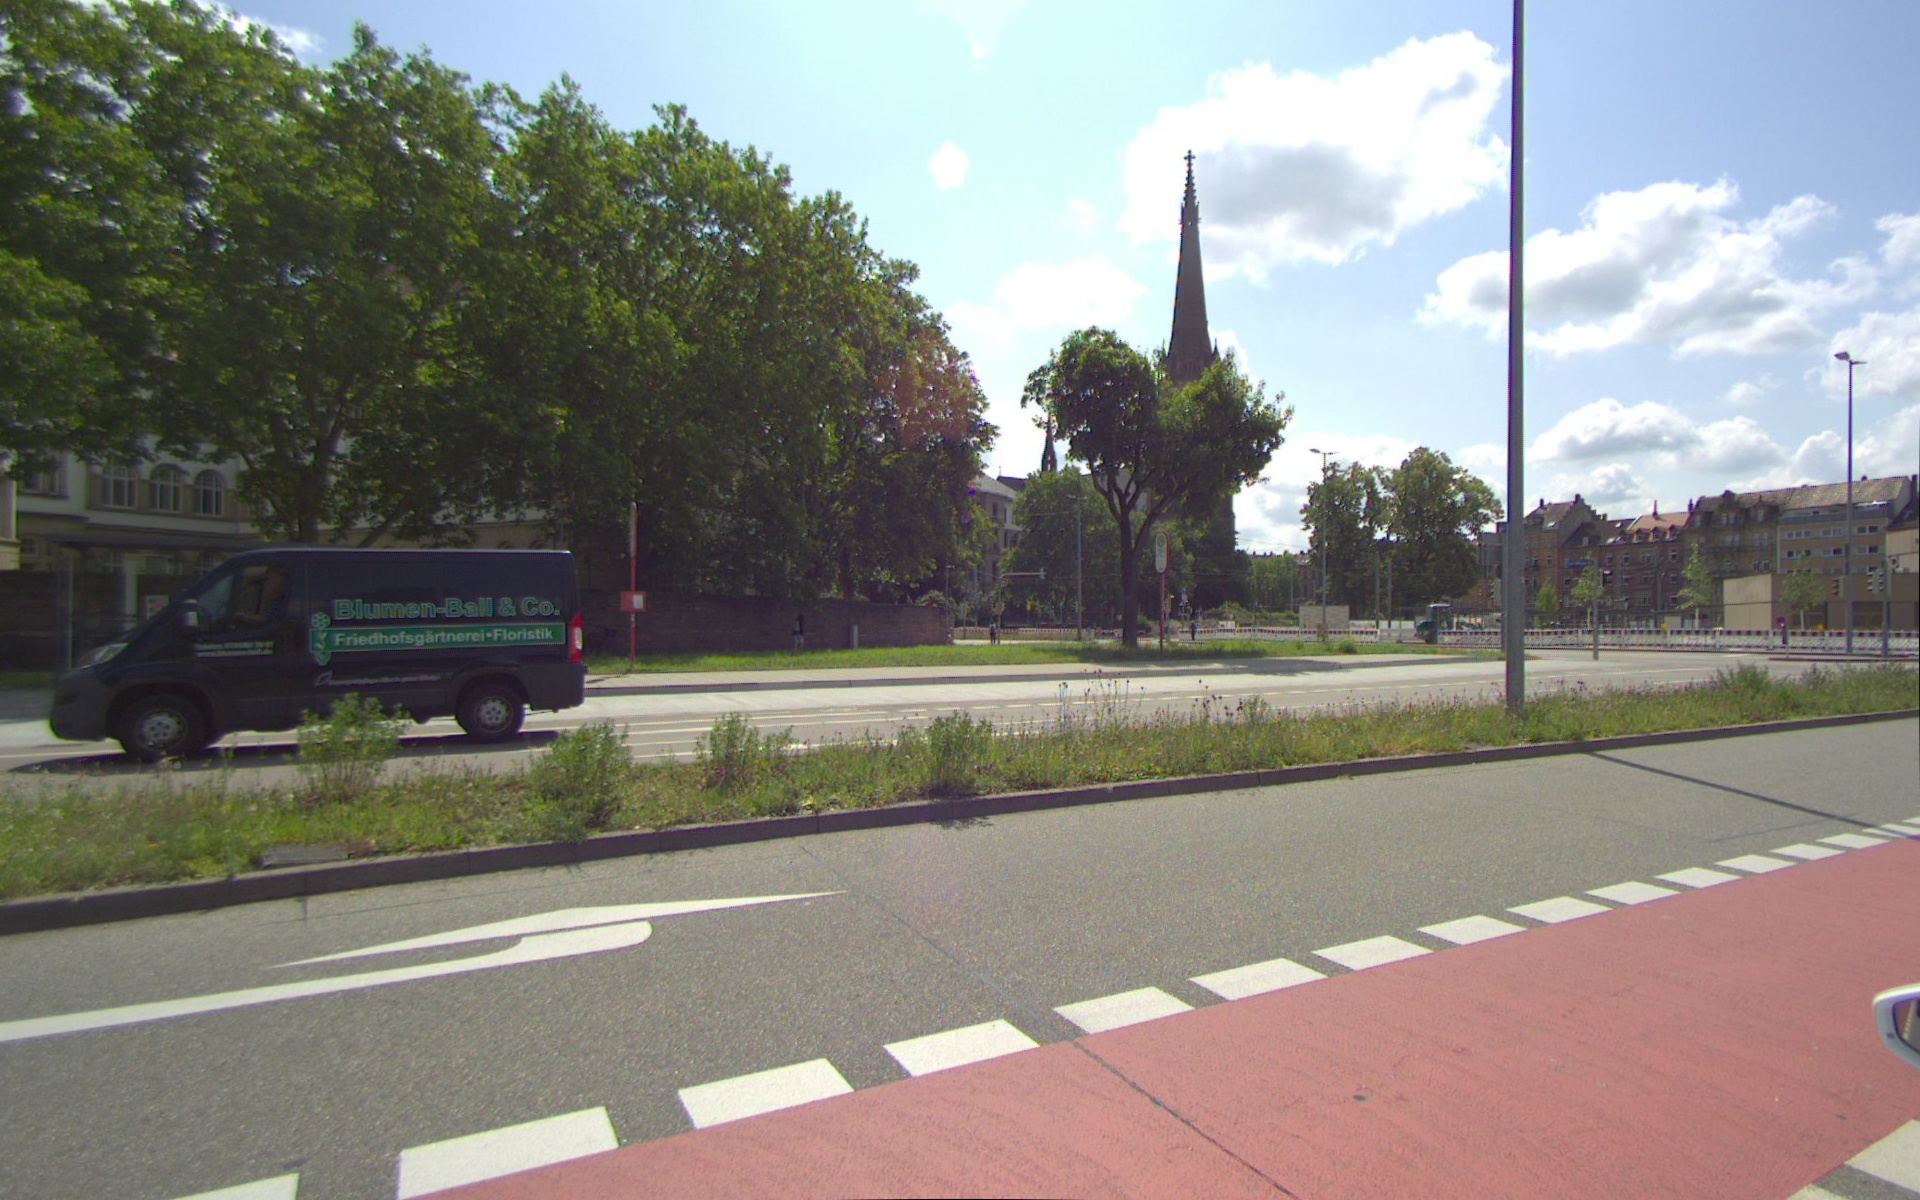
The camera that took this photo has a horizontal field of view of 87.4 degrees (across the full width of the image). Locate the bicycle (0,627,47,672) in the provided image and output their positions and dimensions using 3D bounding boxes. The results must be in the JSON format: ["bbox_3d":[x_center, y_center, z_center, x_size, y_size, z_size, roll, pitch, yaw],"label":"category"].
[{"bbox_3d":[-21.253,1.096,22.316,0.260,0.977,1.391,0,-1,36],"label":"bicycle"}]

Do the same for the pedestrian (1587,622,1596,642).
[{"bbox_3d":[53.598,2.708,85.275,0.409,1.674,0.425,2,0,4],"label":"pedestrian"}]

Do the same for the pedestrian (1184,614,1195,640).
[{"bbox_3d":[18.679,2.202,81.662,0.625,2.040,0.643,1,-1,-32],"label":"pedestrian"}]

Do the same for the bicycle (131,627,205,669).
[{"bbox_3d":[-19.414,1.163,24.637,0.260,0.977,1.391,0,-1,36],"label":"bicycle"}]

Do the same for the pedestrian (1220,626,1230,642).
[{"bbox_3d":[27.670,3.526,104.808,0.842,1.685,0.751,0,-1,29],"label":"pedestrian"}]

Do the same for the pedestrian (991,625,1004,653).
[{"bbox_3d":[2.788,2.878,74.689,0.713,2.040,0.721,1,-1,-32],"label":"pedestrian"}]

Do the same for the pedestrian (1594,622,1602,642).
[{"bbox_3d":[53.629,2.705,84.420,0.409,1.674,0.425,2,0,4],"label":"pedestrian"}]

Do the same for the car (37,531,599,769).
[{"bbox_3d":[-6.915,0.540,11.494,4.960,2.204,2.138,1,-3,-30],"label":"car"}]

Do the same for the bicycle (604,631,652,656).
[{"bbox_3d":[-11.771,1.532,35.673,0.324,0.828,1.743,0,-1,36],"label":"bicycle"}]

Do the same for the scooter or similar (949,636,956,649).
[{"bbox_3d":[-0.433,2.480,58.974,0.117,0.721,1.005,0,-1,17],"label":"scooter or similar"}]

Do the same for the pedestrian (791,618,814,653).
[{"bbox_3d":[-6.459,1.463,41.216,0.720,1.413,0.714,1,-1,-35],"label":"pedestrian"}]

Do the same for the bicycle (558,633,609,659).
[{"bbox_3d":[-12.776,1.556,34.146,0.324,0.828,1.743,0,-1,36],"label":"bicycle"}]
